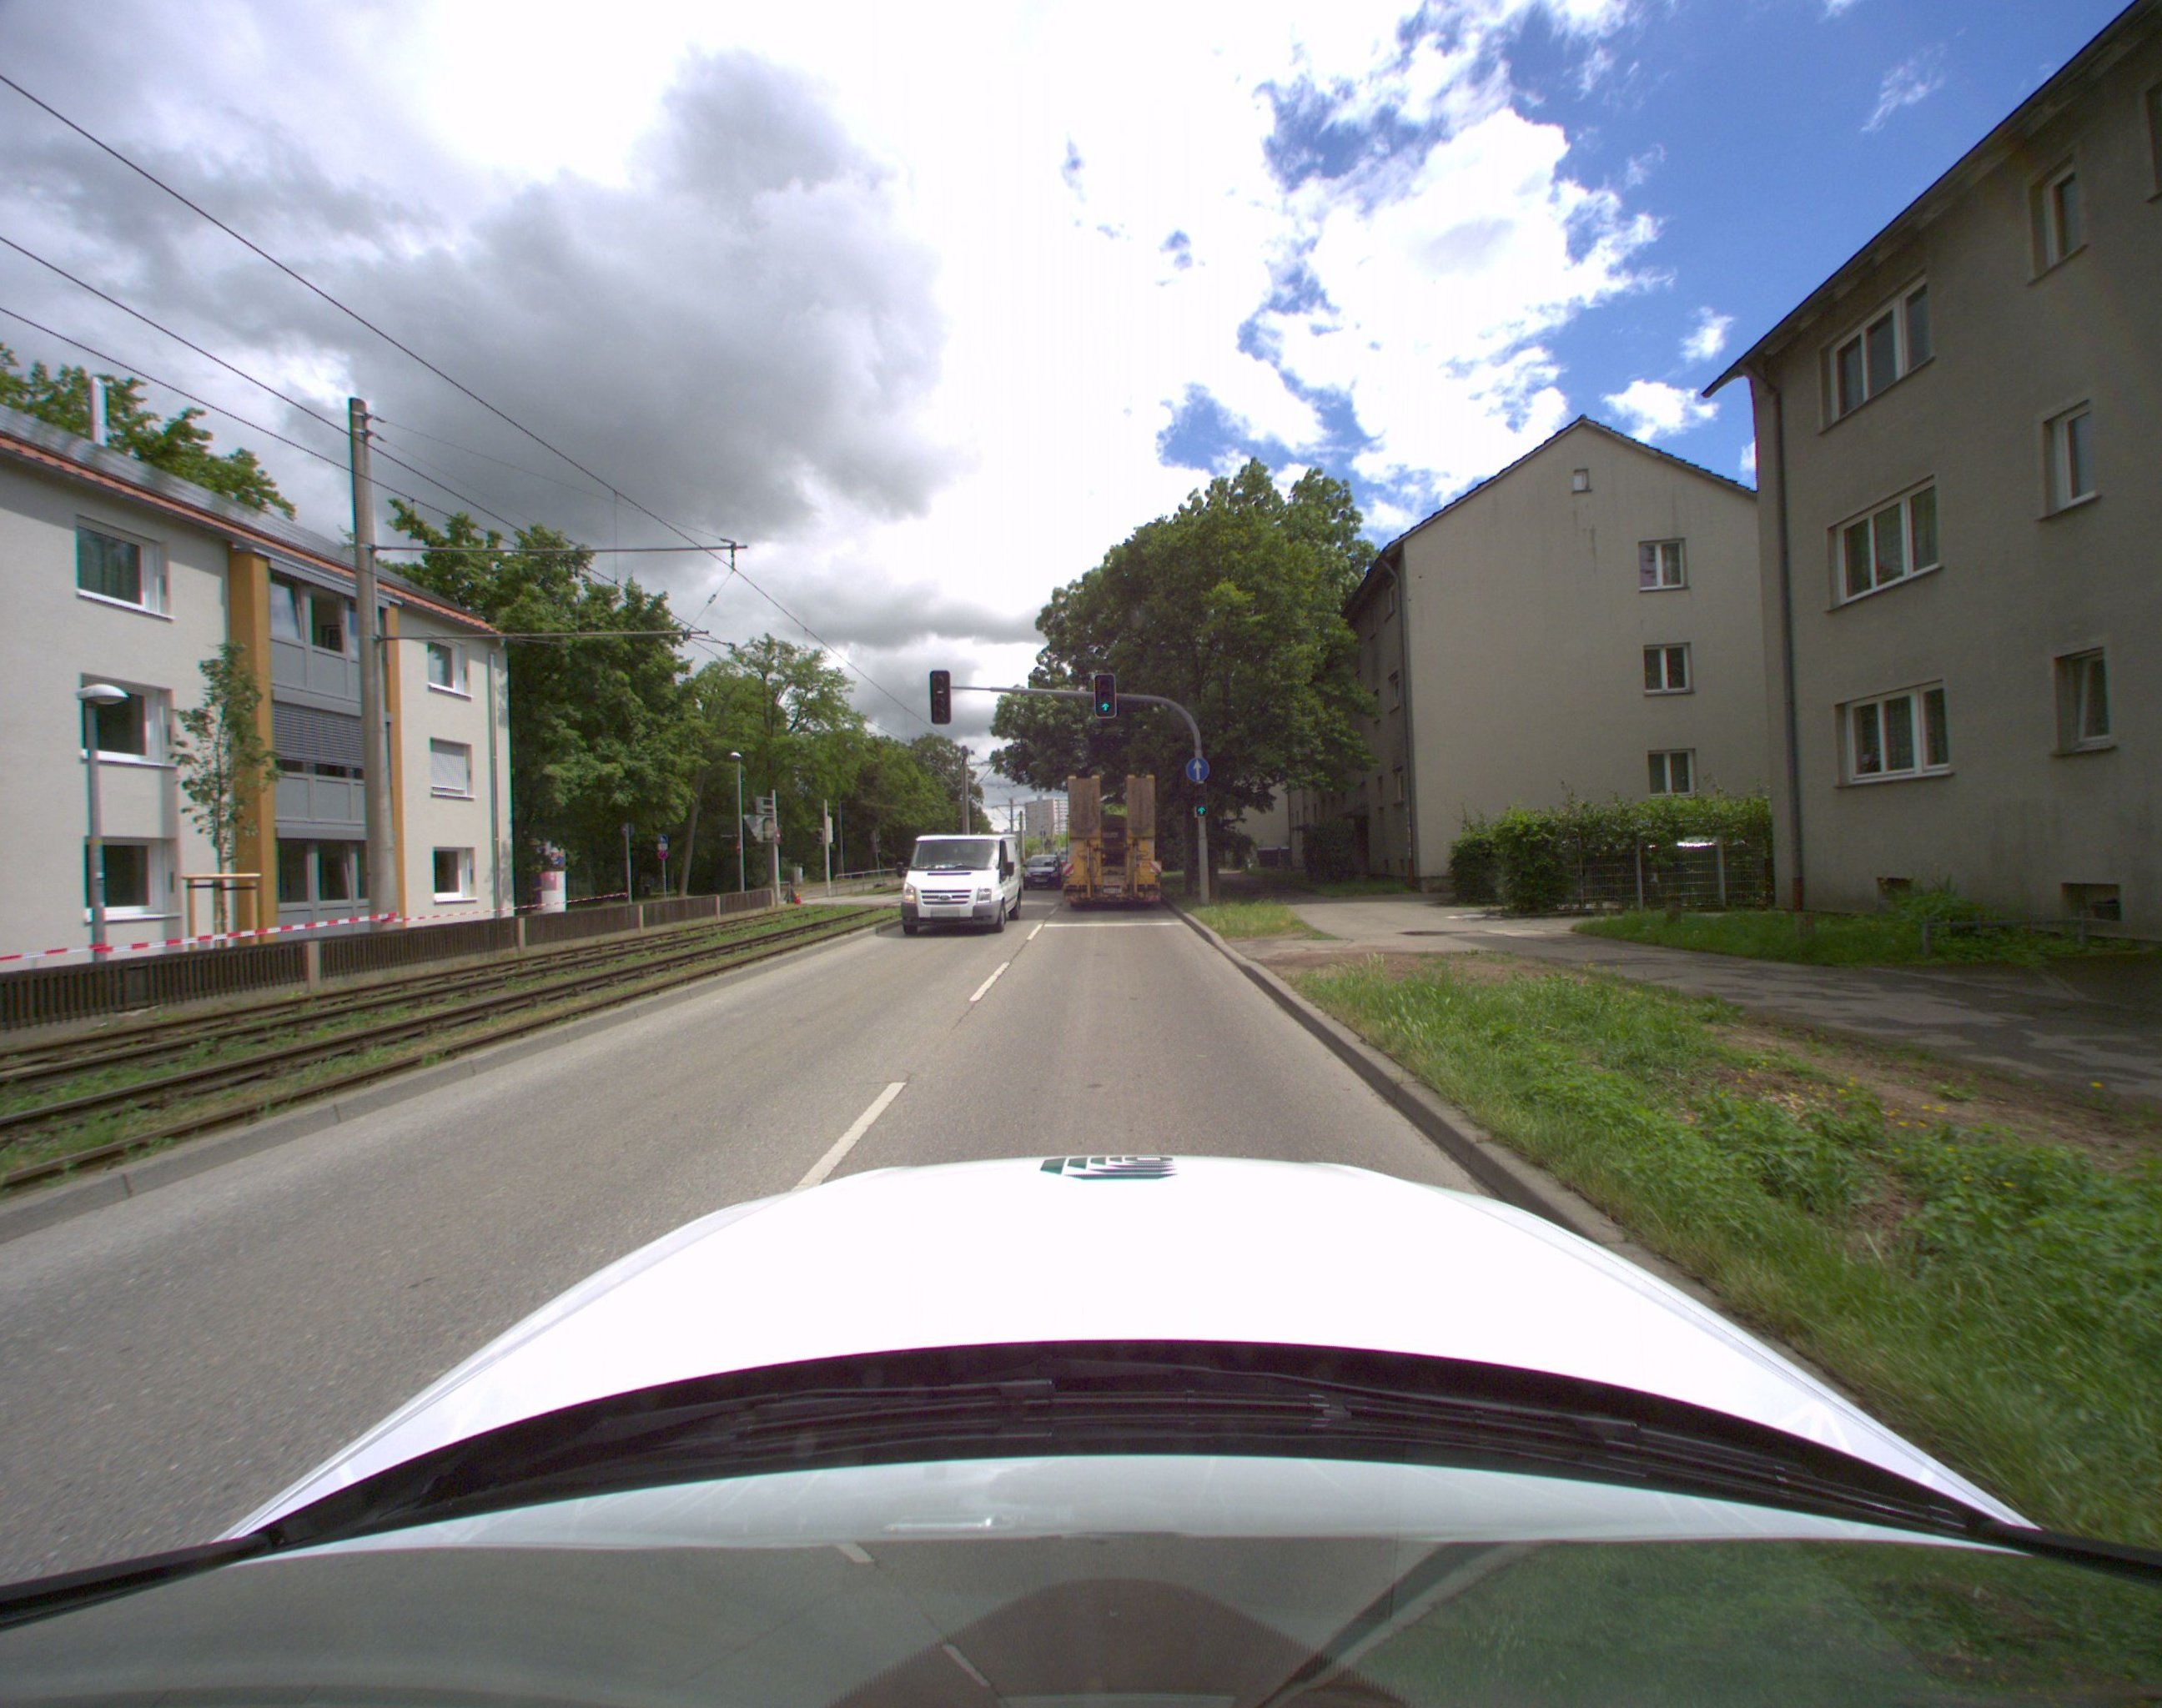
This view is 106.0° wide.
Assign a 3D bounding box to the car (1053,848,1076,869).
[{"bbox_3d":[-1.229,0.295,60.818,1.631,1.533,3.275,0,1,0],"label":"car"}]

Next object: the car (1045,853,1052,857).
[{"bbox_3d":[-10.448,0.343,260.569,1.990,1.420,3.993,0,-1,-5],"label":"car"}]

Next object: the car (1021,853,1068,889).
[{"bbox_3d":[-1.547,0.695,35.987,1.574,1.485,3.812,0,0,5],"label":"car"}]

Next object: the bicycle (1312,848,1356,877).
[{"bbox_3d":[9.820,0.338,31.678,0.438,1.080,1.736,0,-1,-33],"label":"bicycle"}]

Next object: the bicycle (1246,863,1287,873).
[{"bbox_3d":[10.346,0.779,45.376,2.190,0.508,0.675,-1,-1,12],"label":"bicycle"}]

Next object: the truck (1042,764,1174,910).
[{"bbox_3d":[0.731,-0.374,26.911,3.305,3.651,12.560,-1,-1,0],"label":"truck"}]

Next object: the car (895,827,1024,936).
[{"bbox_3d":[-2.425,0.494,17.518,1.987,1.996,4.786,-1,0,0],"label":"car"}]
